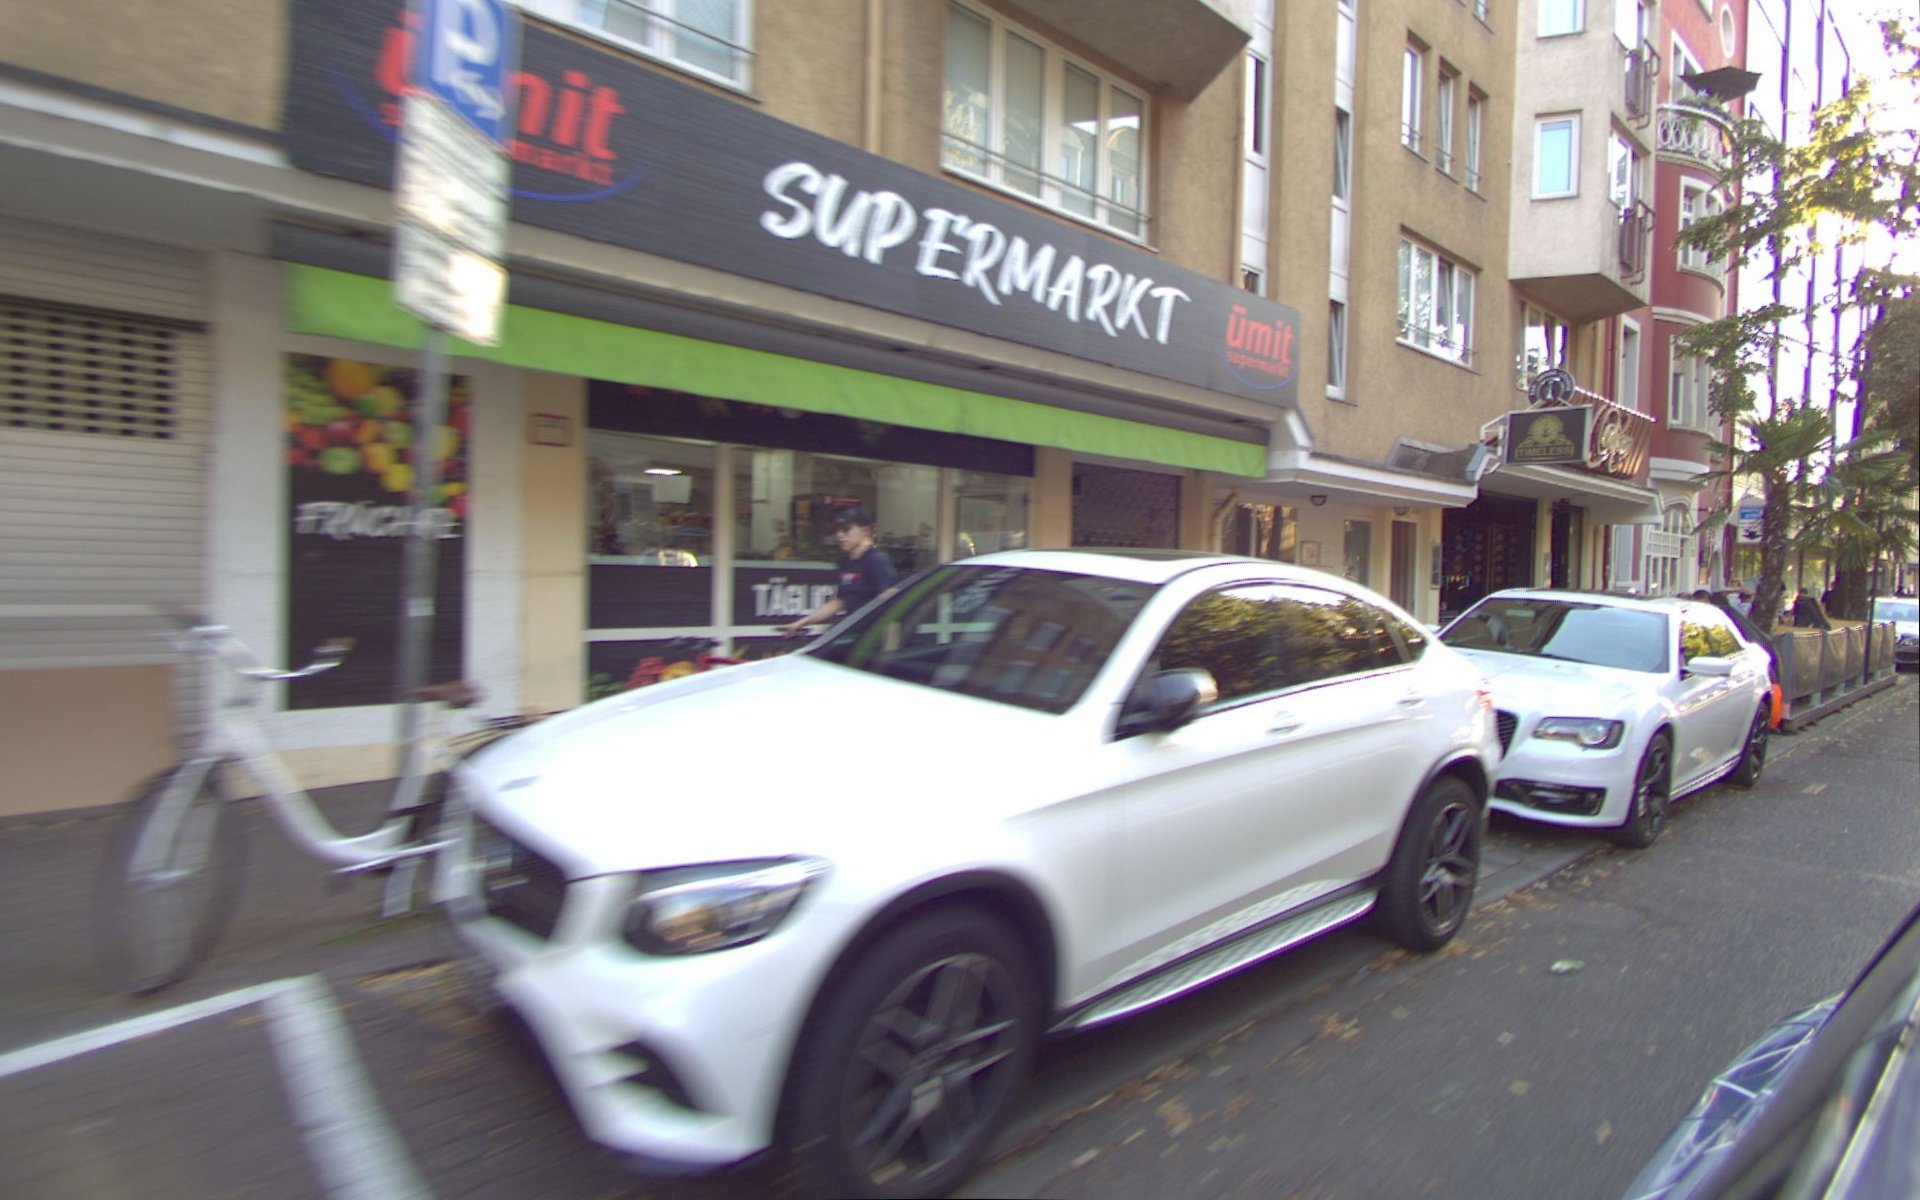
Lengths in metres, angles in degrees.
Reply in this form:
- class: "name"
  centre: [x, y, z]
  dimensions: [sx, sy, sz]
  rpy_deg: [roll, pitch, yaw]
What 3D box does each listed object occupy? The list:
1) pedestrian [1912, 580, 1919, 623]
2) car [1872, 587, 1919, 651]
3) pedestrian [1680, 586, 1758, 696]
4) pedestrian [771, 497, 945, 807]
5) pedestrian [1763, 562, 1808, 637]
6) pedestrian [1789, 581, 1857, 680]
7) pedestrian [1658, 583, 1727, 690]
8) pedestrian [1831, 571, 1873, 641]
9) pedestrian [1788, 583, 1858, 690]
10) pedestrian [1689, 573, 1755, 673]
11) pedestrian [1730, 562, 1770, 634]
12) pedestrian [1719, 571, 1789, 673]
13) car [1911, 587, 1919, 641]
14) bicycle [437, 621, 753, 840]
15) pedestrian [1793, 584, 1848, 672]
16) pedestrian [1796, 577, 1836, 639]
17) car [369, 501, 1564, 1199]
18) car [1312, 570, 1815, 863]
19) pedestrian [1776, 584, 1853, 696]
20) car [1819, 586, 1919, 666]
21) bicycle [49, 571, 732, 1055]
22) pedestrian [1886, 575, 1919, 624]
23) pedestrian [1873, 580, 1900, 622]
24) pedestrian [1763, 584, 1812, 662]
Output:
- class: "pedestrian"
  centre: [40.416, 0.082, 42.352]
  dimensions: [0.798, 1.780, 0.756]
  rpy_deg: [0, 2, -41]
- class: "car"
  centre: [24.789, 0.478, 25.808]
  dimensions: [4.342, 1.488, 1.778]
  rpy_deg: [0, 4, -42]
- class: "pedestrian"
  centre: [9.174, 0.478, 12.234]
  dimensions: [0.592, 1.259, 0.578]
  rpy_deg: [0, 3, -41]
- class: "pedestrian"
  centre: [-0.627, 0.268, 6.147]
  dimensions: [0.688, 1.725, 0.789]
  rpy_deg: [0, 3, -41]
- class: "pedestrian"
  centre: [21.432, -0.030, 26.275]
  dimensions: [0.959, 1.890, 0.627]
  rpy_deg: [0, 4, -42]
- class: "pedestrian"
  centre: [13.782, 0.468, 16.161]
  dimensions: [0.781, 1.503, 0.632]
  rpy_deg: [0, 3, -41]
- class: "pedestrian"
  centre: [10.033, 0.482, 13.867]
  dimensions: [0.592, 1.401, 0.578]
  rpy_deg: [0, 3, -41]
- class: "pedestrian"
  centre: [22.242, 0.140, 25.231]
  dimensions: [0.629, 1.697, 0.625]
  rpy_deg: [0, 3, -41]
- class: "pedestrian"
  centre: [11.926, 0.482, 13.983]
  dimensions: [0.592, 1.401, 0.578]
  rpy_deg: [0, 3, -41]
- class: "pedestrian"
  centre: [11.271, 0.323, 14.964]
  dimensions: [0.706, 1.401, 0.578]
  rpy_deg: [0, 3, -41]
- class: "pedestrian"
  centre: [20.927, -0.058, 26.808]
  dimensions: [0.821, 1.831, 0.590]
  rpy_deg: [0, 4, -42]
- class: "pedestrian"
  centre: [13.231, 0.353, 16.862]
  dimensions: [0.781, 1.618, 0.709]
  rpy_deg: [0, 3, -41]
- class: "car"
  centre: [29.234, 0.428, 29.538]
  dimensions: [4.671, 1.510, 1.726]
  rpy_deg: [0, 4, -42]
- class: "bicycle"
  centre: [-1.902, 0.626, 5.414]
  dimensions: [1.523, 0.970, 0.459]
  rpy_deg: [0, 3, -42]
- class: "pedestrian"
  centre: [15.117, 0.480, 17.774]
  dimensions: [0.592, 1.480, 0.578]
  rpy_deg: [0, 3, -41]
- class: "pedestrian"
  centre: [21.642, 0.198, 25.586]
  dimensions: [0.629, 1.506, 0.625]
  rpy_deg: [0, 3, -41]
- class: "car"
  centre: [0.479, 0.545, 4.010]
  dimensions: [4.610, 1.593, 1.884]
  rpy_deg: [0, 4, -41]
- class: "car"
  centre: [4.930, 0.601, 7.862]
  dimensions: [5.100, 1.498, 1.846]
  rpy_deg: [0, 4, -42]
- class: "pedestrian"
  centre: [10.777, 0.477, 12.762]
  dimensions: [0.691, 1.335, 0.578]
  rpy_deg: [0, 3, -41]
- class: "car"
  centre: [20.152, 0.496, 21.681]
  dimensions: [4.910, 1.457, 1.779]
  rpy_deg: [0, 4, -40]
- class: "bicycle"
  centre: [-1.941, 0.567, 3.682]
  dimensions: [2.014, 1.277, 0.777]
  rpy_deg: [0, 4, -41]
- class: "pedestrian"
  centre: [36.253, -0.030, 38.677]
  dimensions: [0.928, 1.807, 1.049]
  rpy_deg: [0, 5, -41]
- class: "pedestrian"
  centre: [39.850, 0.044, 43.524]
  dimensions: [0.798, 1.780, 0.756]
  rpy_deg: [0, 2, -41]
- class: "pedestrian"
  centre: [14.932, 0.408, 18.255]
  dimensions: [0.430, 1.361, 0.549]
  rpy_deg: [0, 3, -41]
